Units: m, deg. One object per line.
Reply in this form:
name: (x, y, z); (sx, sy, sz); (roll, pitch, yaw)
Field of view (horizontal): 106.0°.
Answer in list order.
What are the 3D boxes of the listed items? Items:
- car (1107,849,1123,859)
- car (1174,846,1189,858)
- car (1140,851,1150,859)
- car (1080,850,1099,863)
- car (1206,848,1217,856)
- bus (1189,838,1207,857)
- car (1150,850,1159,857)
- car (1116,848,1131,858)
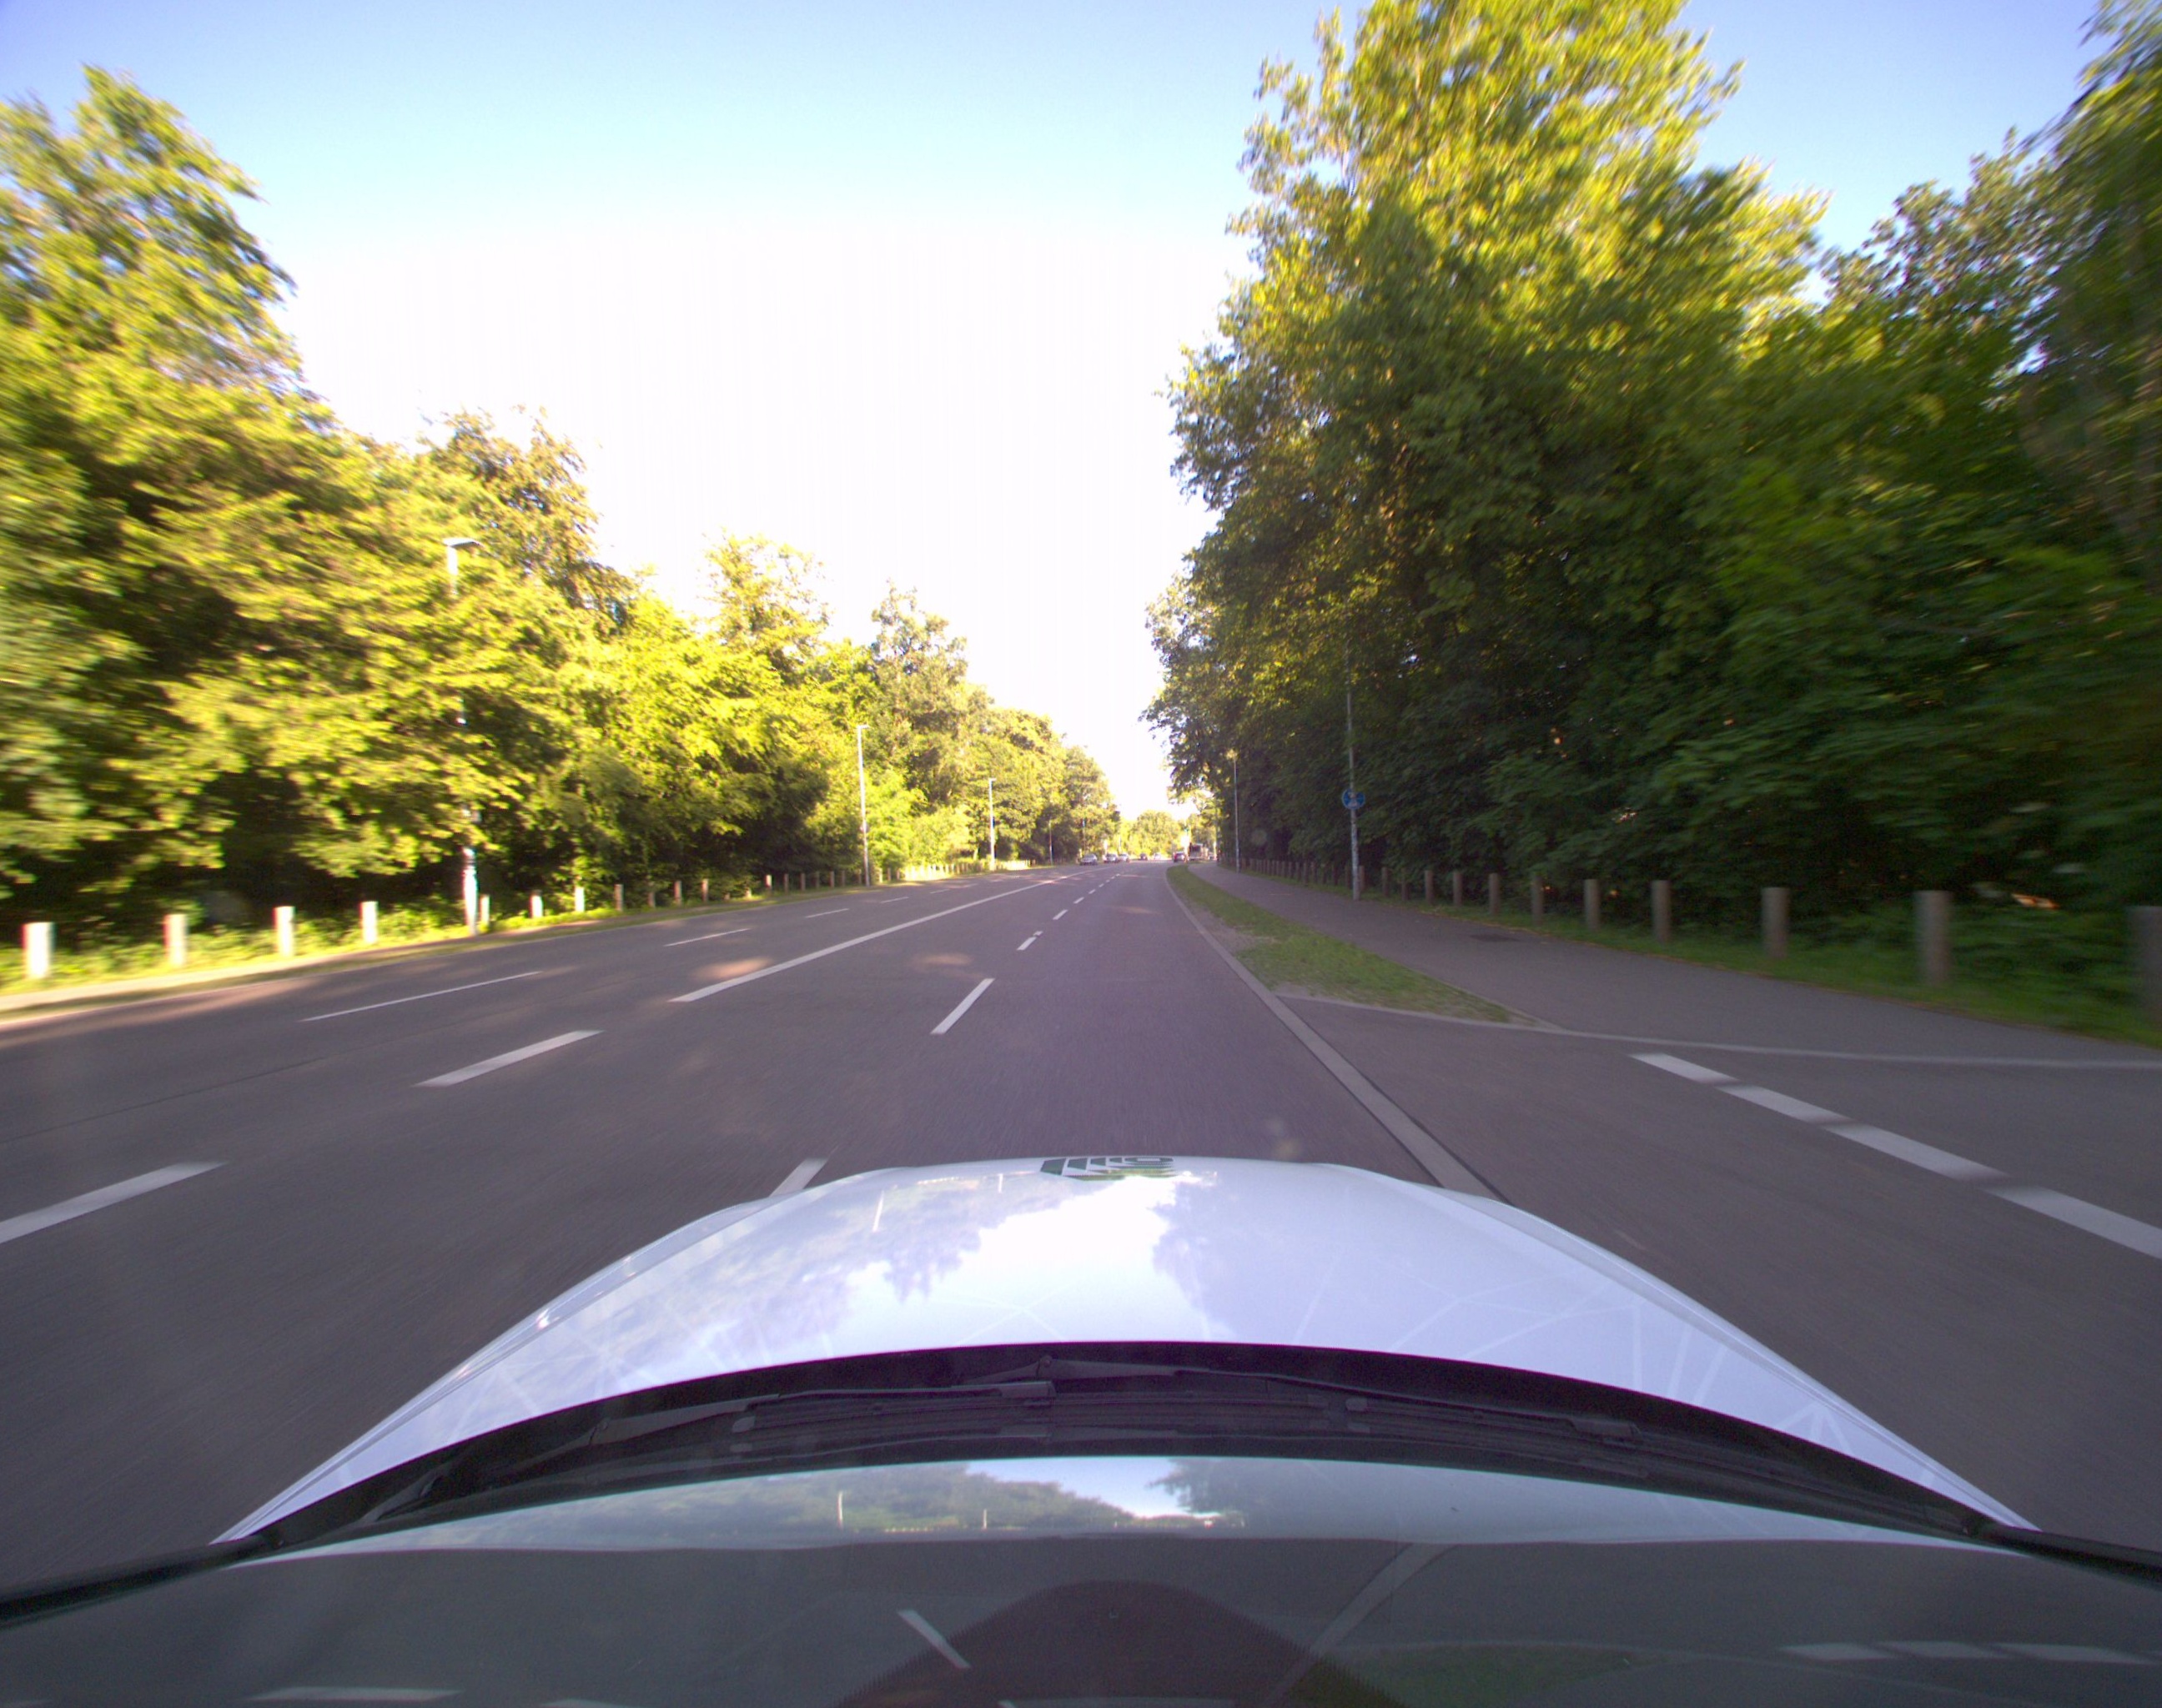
car: (5.167, -0.018, 122.961); (1.768, 1.464, 4.287); (0, 0, 11)
car: (15.991, -0.269, 129.061); (1.867, 1.765, 4.014); (-2, 0, 12)
car: (13.221, 0.173, 168.208); (1.652, 1.518, 3.820); (-2, 0, 12)
car: (1.030, 0.319, 100.917); (1.769, 1.408, 4.175); (-1, 1, 8)
car: (30.633, -0.548, 191.067); (1.848, 1.684, 3.789); (-3, 0, 16)
bus: (21.761, -1.303, 151.208); (2.587, 3.368, 8.003); (-1, 0, 12)
car: (17.298, -0.076, 191.563); (1.645, 1.508, 4.012); (-2, 0, 11)
car: (7.092, -0.123, 134.495); (1.771, 1.522, 4.412); (-2, 0, 12)
